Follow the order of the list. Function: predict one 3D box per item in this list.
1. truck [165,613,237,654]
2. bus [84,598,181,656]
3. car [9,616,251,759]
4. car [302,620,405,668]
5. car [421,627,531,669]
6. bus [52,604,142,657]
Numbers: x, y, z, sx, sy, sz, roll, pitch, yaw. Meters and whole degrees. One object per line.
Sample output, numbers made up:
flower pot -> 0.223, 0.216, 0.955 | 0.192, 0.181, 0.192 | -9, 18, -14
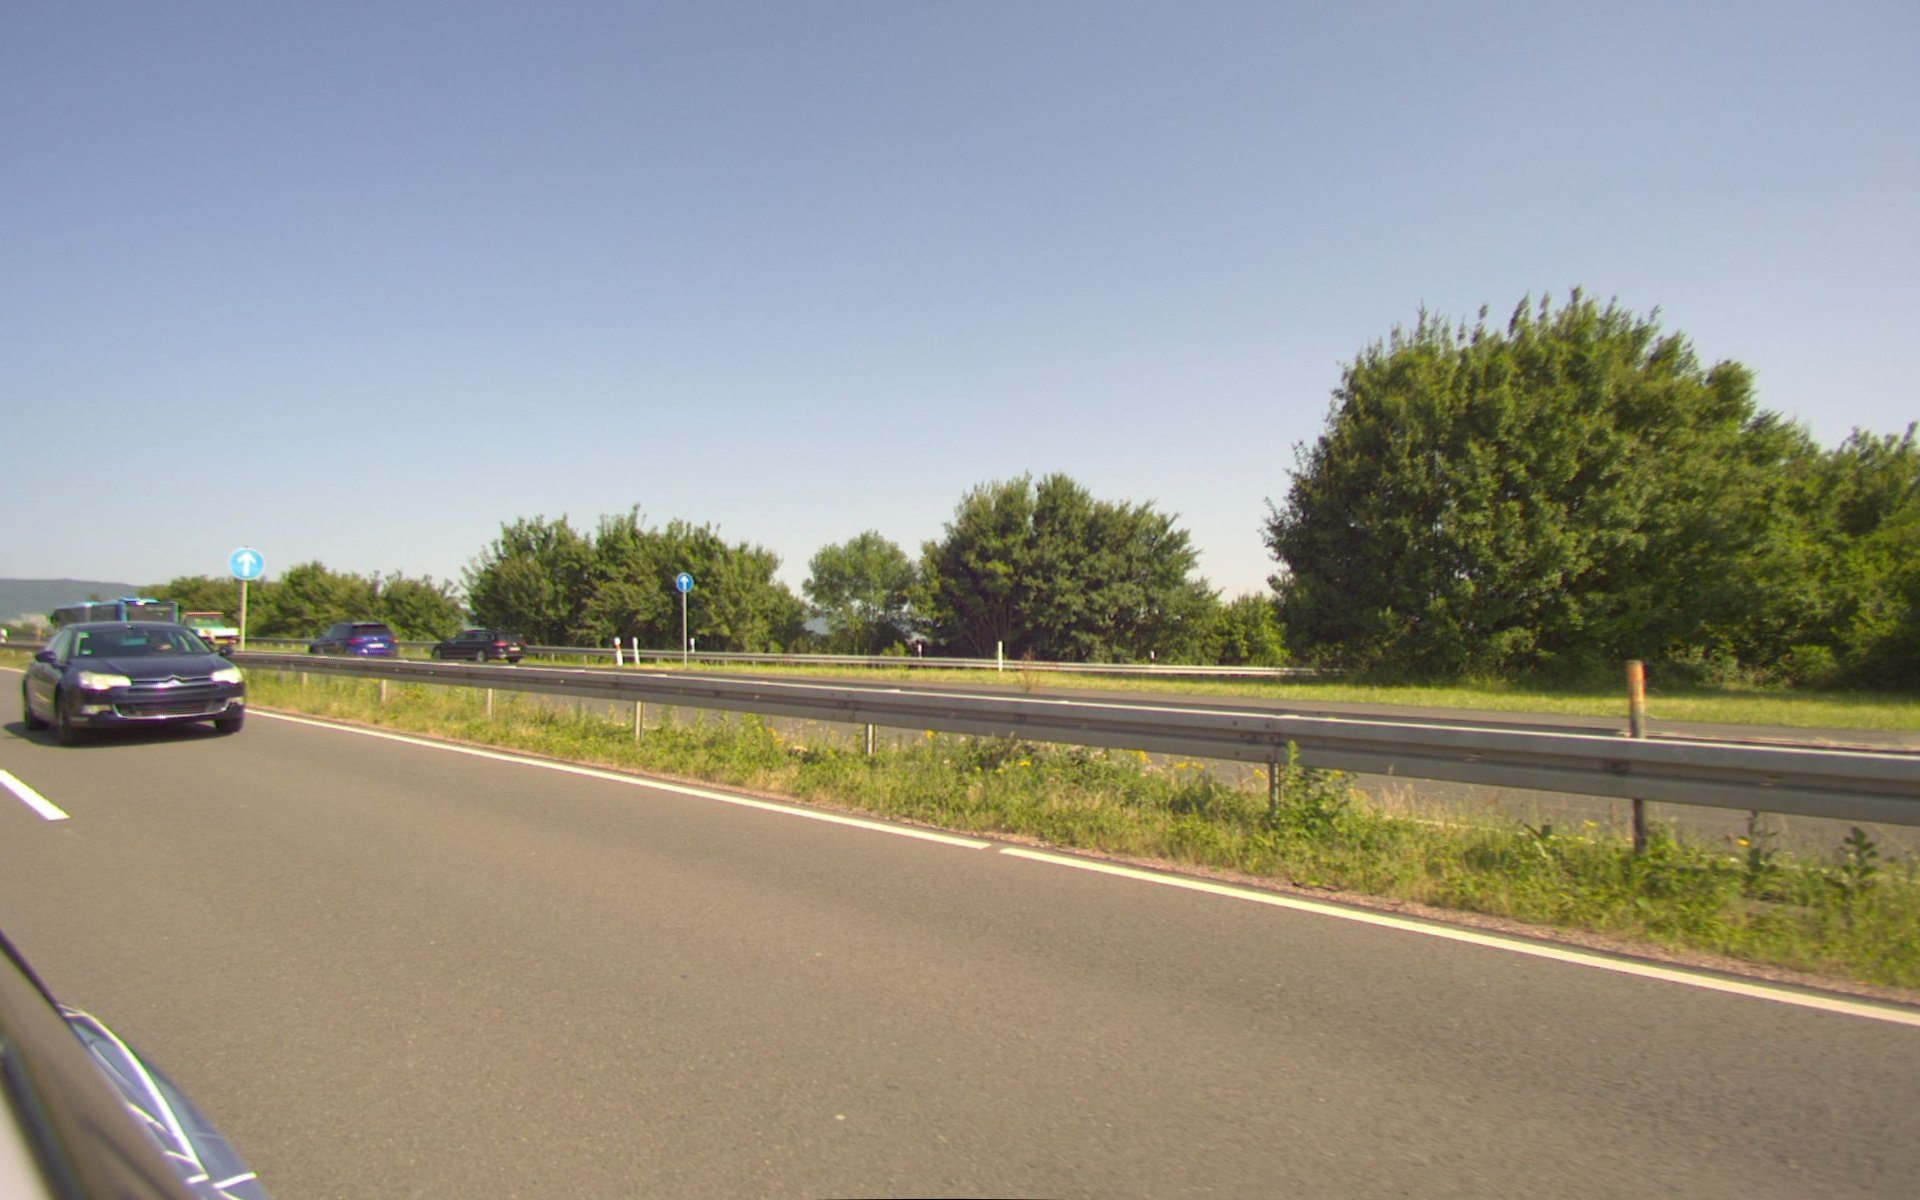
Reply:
truck -> -48.408, 2.149, 64.500 | 6.610, 2.472, 2.105 | -2, -3, 39
bus -> -48.015, 1.599, 58.639 | 8.383, 3.134, 2.698 | -2, -2, 39
car -> -10.999, 1.024, 13.301 | 4.373, 1.545, 1.765 | -1, -1, 41
car -> -22.151, 1.604, 36.906 | 4.271, 1.617, 1.973 | -3, -1, 41
car -> -21.209, 2.086, 44.313 | 4.728, 1.713, 1.824 | -1, -1, 27
bus -> -55.033, 1.933, 64.412 | 9.825, 3.134, 2.698 | -2, -2, 40
